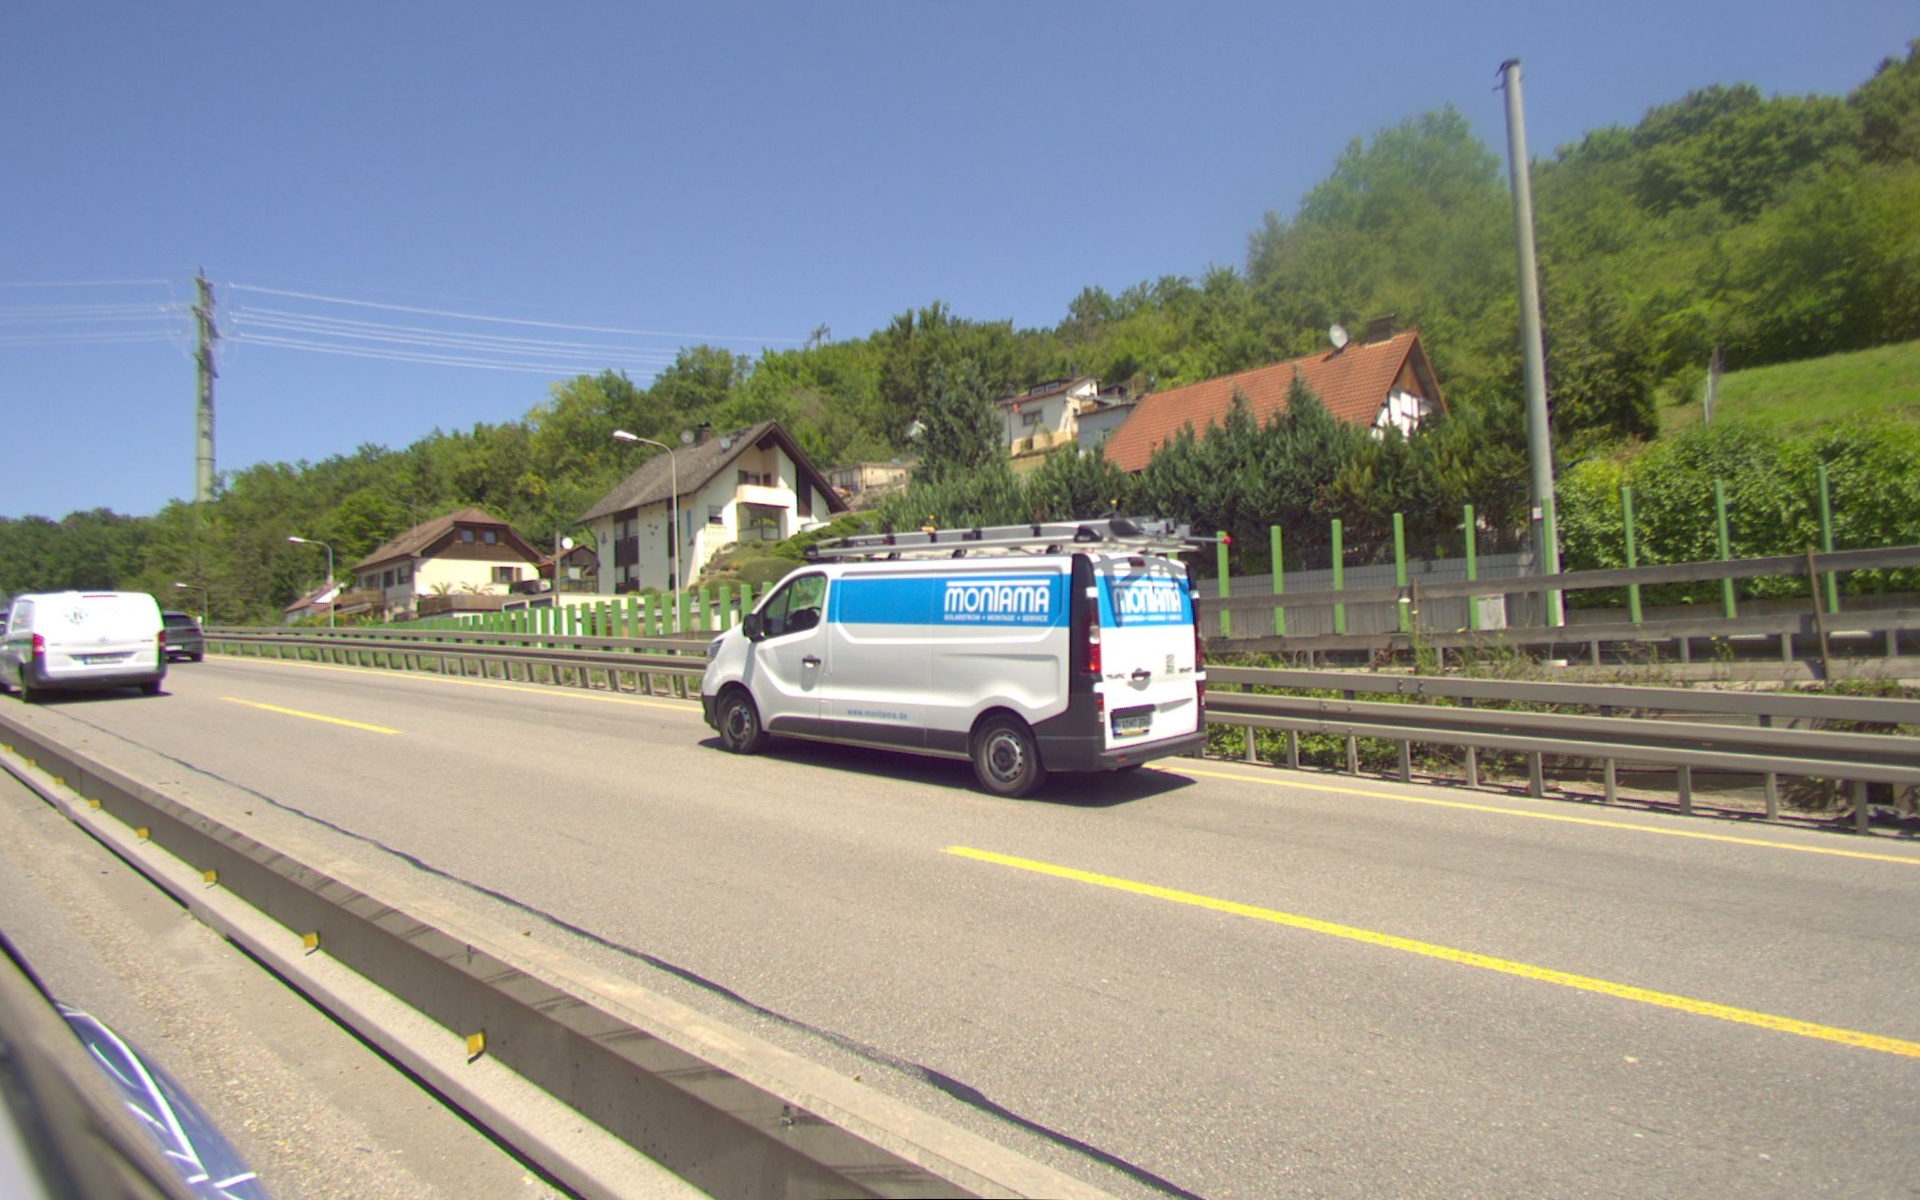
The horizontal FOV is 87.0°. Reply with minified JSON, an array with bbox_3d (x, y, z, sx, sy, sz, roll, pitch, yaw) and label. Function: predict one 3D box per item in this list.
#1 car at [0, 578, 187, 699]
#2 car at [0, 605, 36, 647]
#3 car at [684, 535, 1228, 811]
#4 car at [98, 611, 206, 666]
[{"bbox_3d":[-16.204,0.638,18.629,5.323,1.920,2.135,-1,-1,41],"label":"car"},{"bbox_3d":[-44.097,1.189,46.460,4.506,1.841,1.973,-1,0,41],"label":"car"},{"bbox_3d":[-0.317,0.561,9.549,5.240,1.940,1.806,-1,-1,41],"label":"car"},{"bbox_3d":[-23.036,1.045,28.818,4.051,1.453,1.731,-1,0,41],"label":"car"}]
